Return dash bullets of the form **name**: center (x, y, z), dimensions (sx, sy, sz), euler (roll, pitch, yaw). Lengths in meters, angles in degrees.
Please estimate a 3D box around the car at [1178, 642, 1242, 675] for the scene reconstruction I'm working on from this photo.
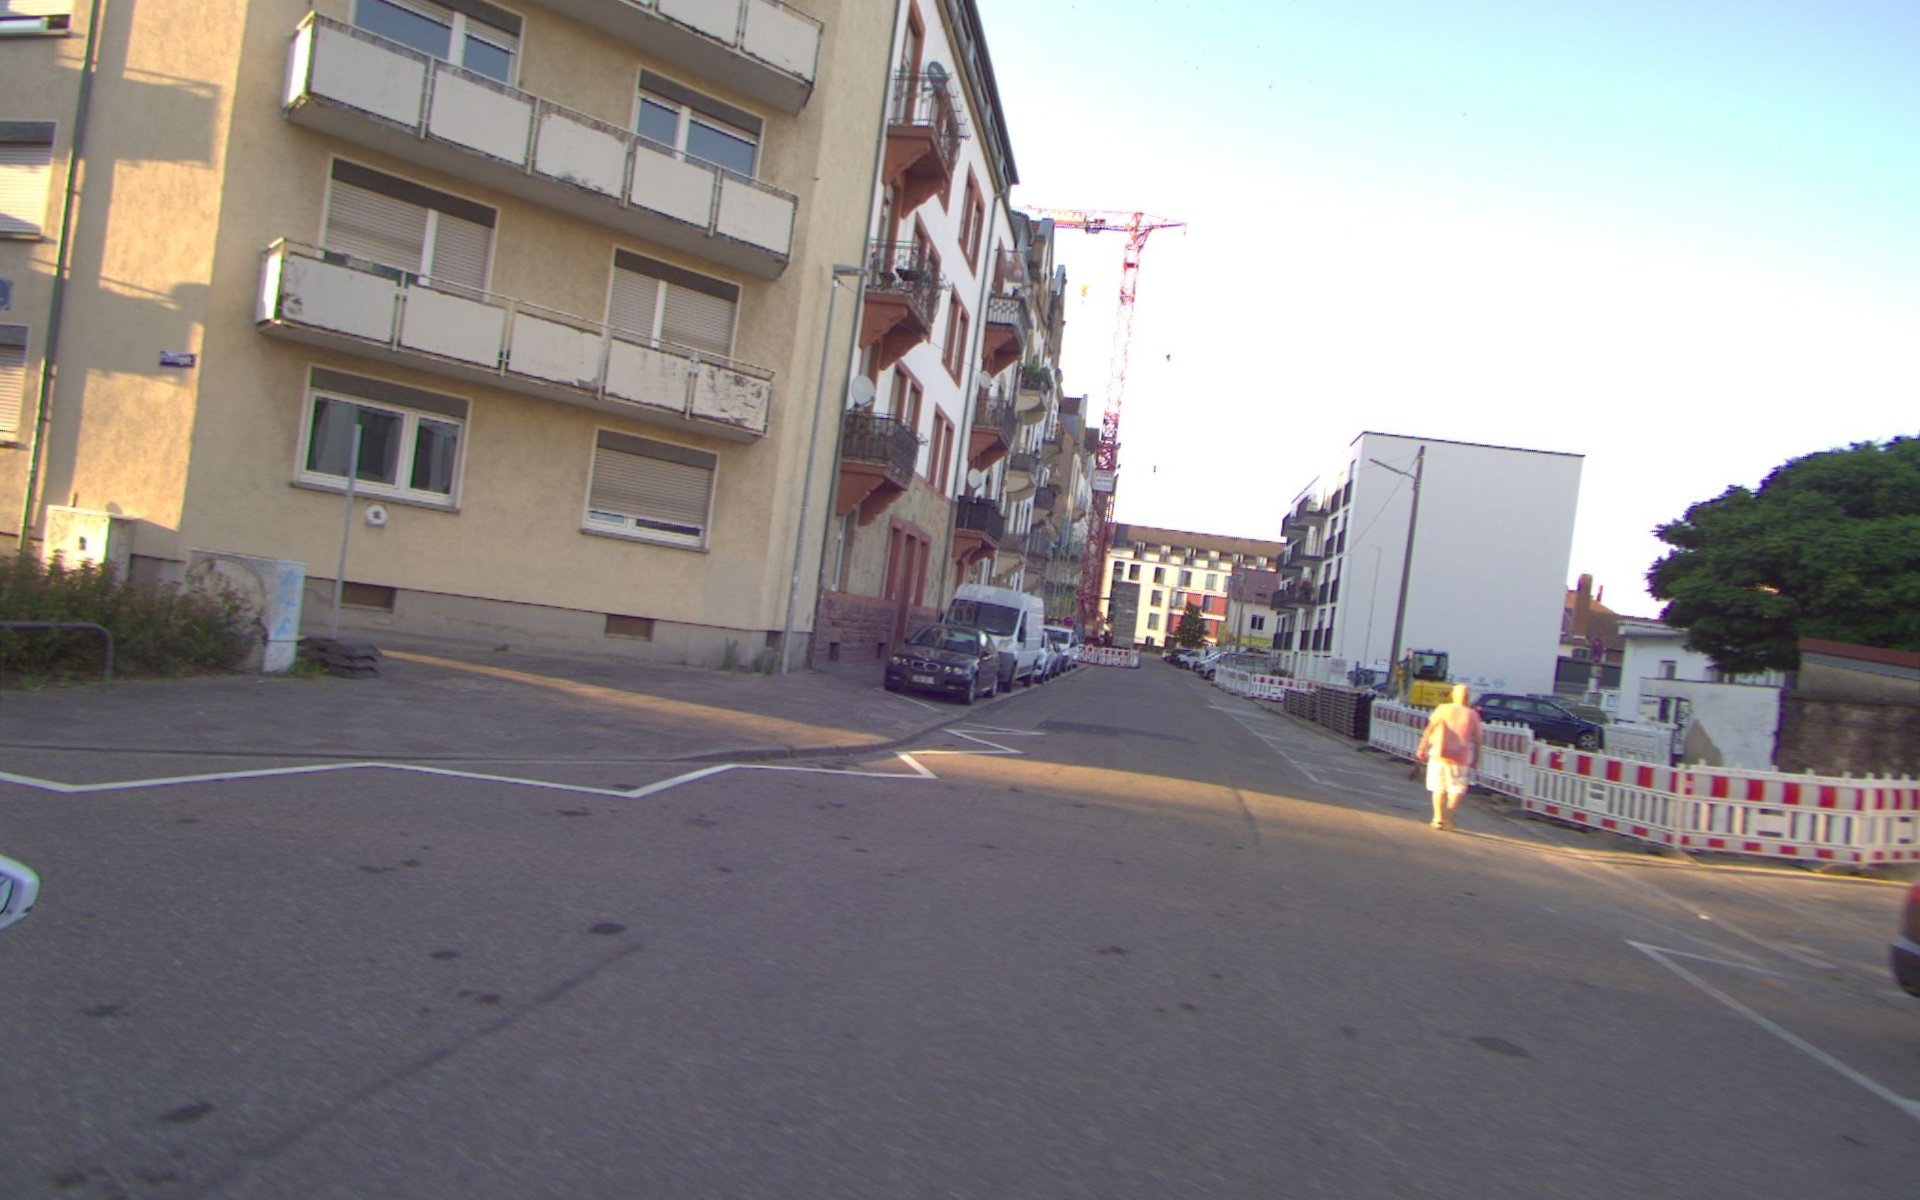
- **car**: center (21.295, 4.979, 85.771), dimensions (4.976, 2.095, 2.001), euler (8, 0, 17)

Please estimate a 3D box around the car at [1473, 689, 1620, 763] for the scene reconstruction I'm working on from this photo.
- **car**: center (19.443, 4.142, 33.568), dimensions (3.929, 1.724, 1.848), euler (8, 0, 26)

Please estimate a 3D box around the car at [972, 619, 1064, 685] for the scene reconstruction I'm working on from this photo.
- **car**: center (1.963, 1.646, 32.402), dimensions (2.190, 1.585, 4.612), euler (10, 0, 11)

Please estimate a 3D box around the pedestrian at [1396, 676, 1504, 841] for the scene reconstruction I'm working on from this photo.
- **pedestrian**: center (5.563, 1.774, 11.470), dimensions (0.771, 1.685, 0.630), euler (10, 1, 18)

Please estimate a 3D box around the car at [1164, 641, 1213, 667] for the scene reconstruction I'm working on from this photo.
- **car**: center (24.811, 5.843, 109.174), dimensions (4.894, 2.095, 2.001), euler (8, 0, 17)

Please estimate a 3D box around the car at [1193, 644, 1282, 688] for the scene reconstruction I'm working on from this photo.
- **car**: center (18.007, 4.252, 65.418), dimensions (4.978, 2.095, 2.000), euler (8, 0, 1)

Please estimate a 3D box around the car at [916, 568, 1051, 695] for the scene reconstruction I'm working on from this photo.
- **car**: center (0.797, 0.840, 26.117), dimensions (2.190, 2.559, 6.041), euler (10, 0, 11)

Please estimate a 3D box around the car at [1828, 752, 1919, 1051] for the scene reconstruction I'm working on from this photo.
- **car**: center (7.589, 1.939, 5.095), dimensions (4.640, 1.550, 1.832), euler (7, 0, 1)

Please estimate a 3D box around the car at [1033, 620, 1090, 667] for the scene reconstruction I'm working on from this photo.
- **car**: center (5.165, 2.199, 50.536), dimensions (2.162, 1.886, 4.612), euler (10, 0, 11)

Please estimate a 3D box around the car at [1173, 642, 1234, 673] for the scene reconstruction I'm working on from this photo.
- **car**: center (21.937, 5.169, 90.486), dimensions (4.976, 2.095, 2.001), euler (8, 0, 17)

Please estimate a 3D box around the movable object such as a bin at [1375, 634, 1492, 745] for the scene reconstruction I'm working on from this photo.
- **movable object such as a bin**: center (14.283, 2.669, 30.301), dimensions (2.627, 2.691, 5.198), euler (8, -1, 27)

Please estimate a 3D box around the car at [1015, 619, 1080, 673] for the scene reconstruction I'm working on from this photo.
- **car**: center (3.946, 2.037, 44.510), dimensions (2.162, 1.886, 4.612), euler (10, 0, 11)

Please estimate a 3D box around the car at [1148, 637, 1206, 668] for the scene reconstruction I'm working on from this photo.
- **car**: center (20.349, 4.921, 94.433), dimensions (4.976, 2.095, 2.001), euler (8, 0, 17)

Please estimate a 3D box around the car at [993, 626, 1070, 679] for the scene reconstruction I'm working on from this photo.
- **car**: center (2.747, 1.930, 37.433), dimensions (2.162, 1.461, 4.612), euler (10, 0, 11)

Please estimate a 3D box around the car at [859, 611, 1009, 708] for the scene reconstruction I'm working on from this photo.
- **car**: center (-0.382, 1.139, 19.894), dimensions (1.962, 1.387, 4.003), euler (10, 0, 11)
